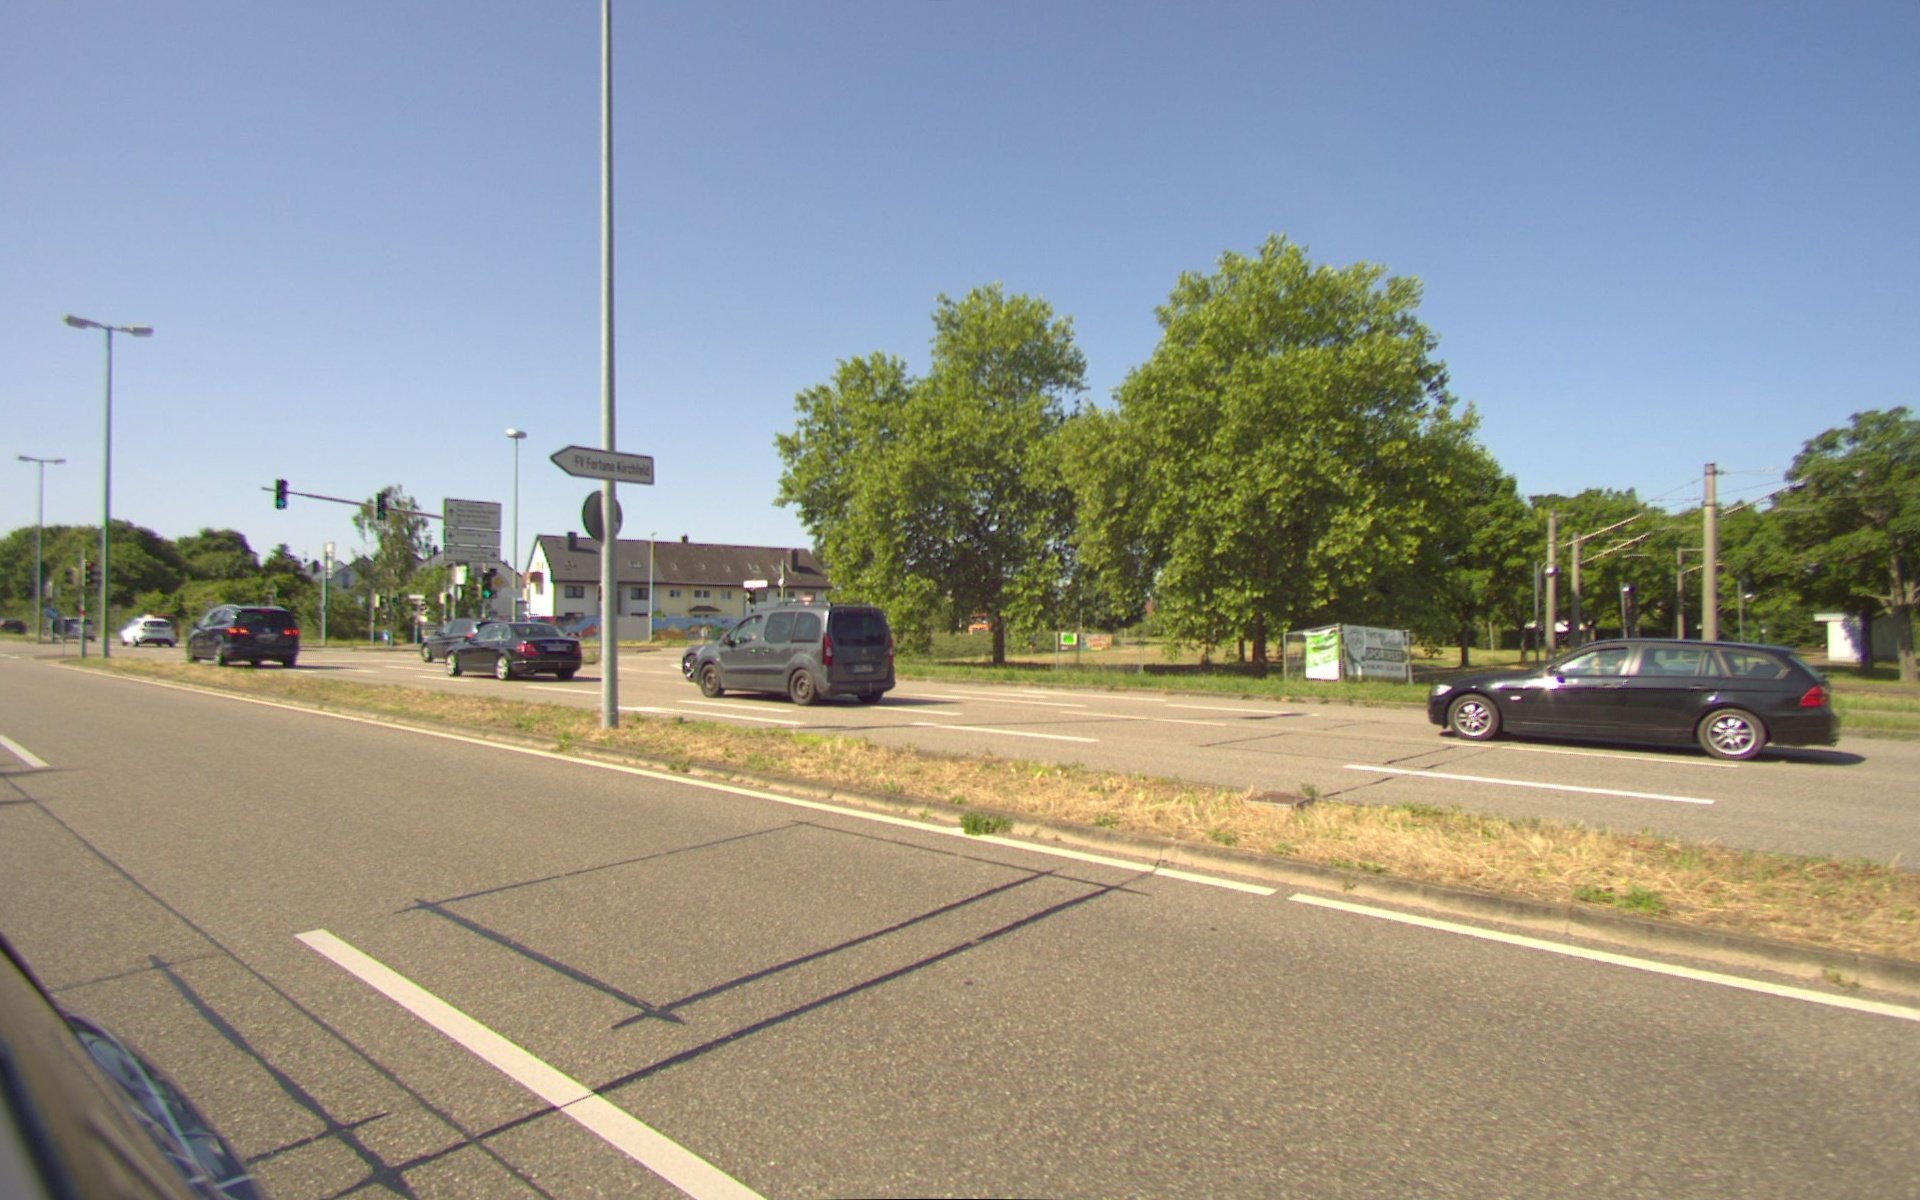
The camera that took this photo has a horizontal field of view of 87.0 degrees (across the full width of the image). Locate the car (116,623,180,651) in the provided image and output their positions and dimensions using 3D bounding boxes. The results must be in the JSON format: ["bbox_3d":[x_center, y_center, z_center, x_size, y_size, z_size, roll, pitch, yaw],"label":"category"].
[{"bbox_3d":[-41.812,1.891,52.073,3.840,1.397,1.810,-1,-2,40],"label":"car"}]

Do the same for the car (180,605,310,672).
[{"bbox_3d":[-20.572,1.101,29.069,4.505,1.764,1.960,-1,-4,41],"label":"car"}]

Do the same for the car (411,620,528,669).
[{"bbox_3d":[-17.536,1.586,36.117,4.486,1.635,2.050,-1,-4,40],"label":"car"}]

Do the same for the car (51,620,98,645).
[{"bbox_3d":[-54.730,1.987,62.551,3.868,1.468,1.602,-1,-2,40],"label":"car"}]

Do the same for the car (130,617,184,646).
[{"bbox_3d":[-51.461,2.020,64.845,4.222,1.783,1.688,-1,-3,37],"label":"car"}]

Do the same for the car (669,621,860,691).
[{"bbox_3d":[-4.835,1.325,24.727,4.681,1.540,2.050,-1,-4,40],"label":"car"}]

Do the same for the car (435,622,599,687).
[{"bbox_3d":[-11.113,1.322,25.268,4.446,1.468,1.961,-1,-3,40],"label":"car"}]

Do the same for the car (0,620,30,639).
[{"bbox_3d":[-77.749,2.422,82.943,4.334,1.468,1.959,-1,-2,45],"label":"car"}]

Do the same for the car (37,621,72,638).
[{"bbox_3d":[-78.878,2.559,88.142,4.229,1.468,1.864,-1,-2,43],"label":"car"}]

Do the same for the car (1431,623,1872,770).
[{"bbox_3d":[8.623,1.095,12.932,4.403,1.557,1.843,-1,-3,41],"label":"car"}]

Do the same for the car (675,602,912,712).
[{"bbox_3d":[-3.177,0.986,18.794,4.487,1.793,1.960,-1,-2,41],"label":"car"}]
